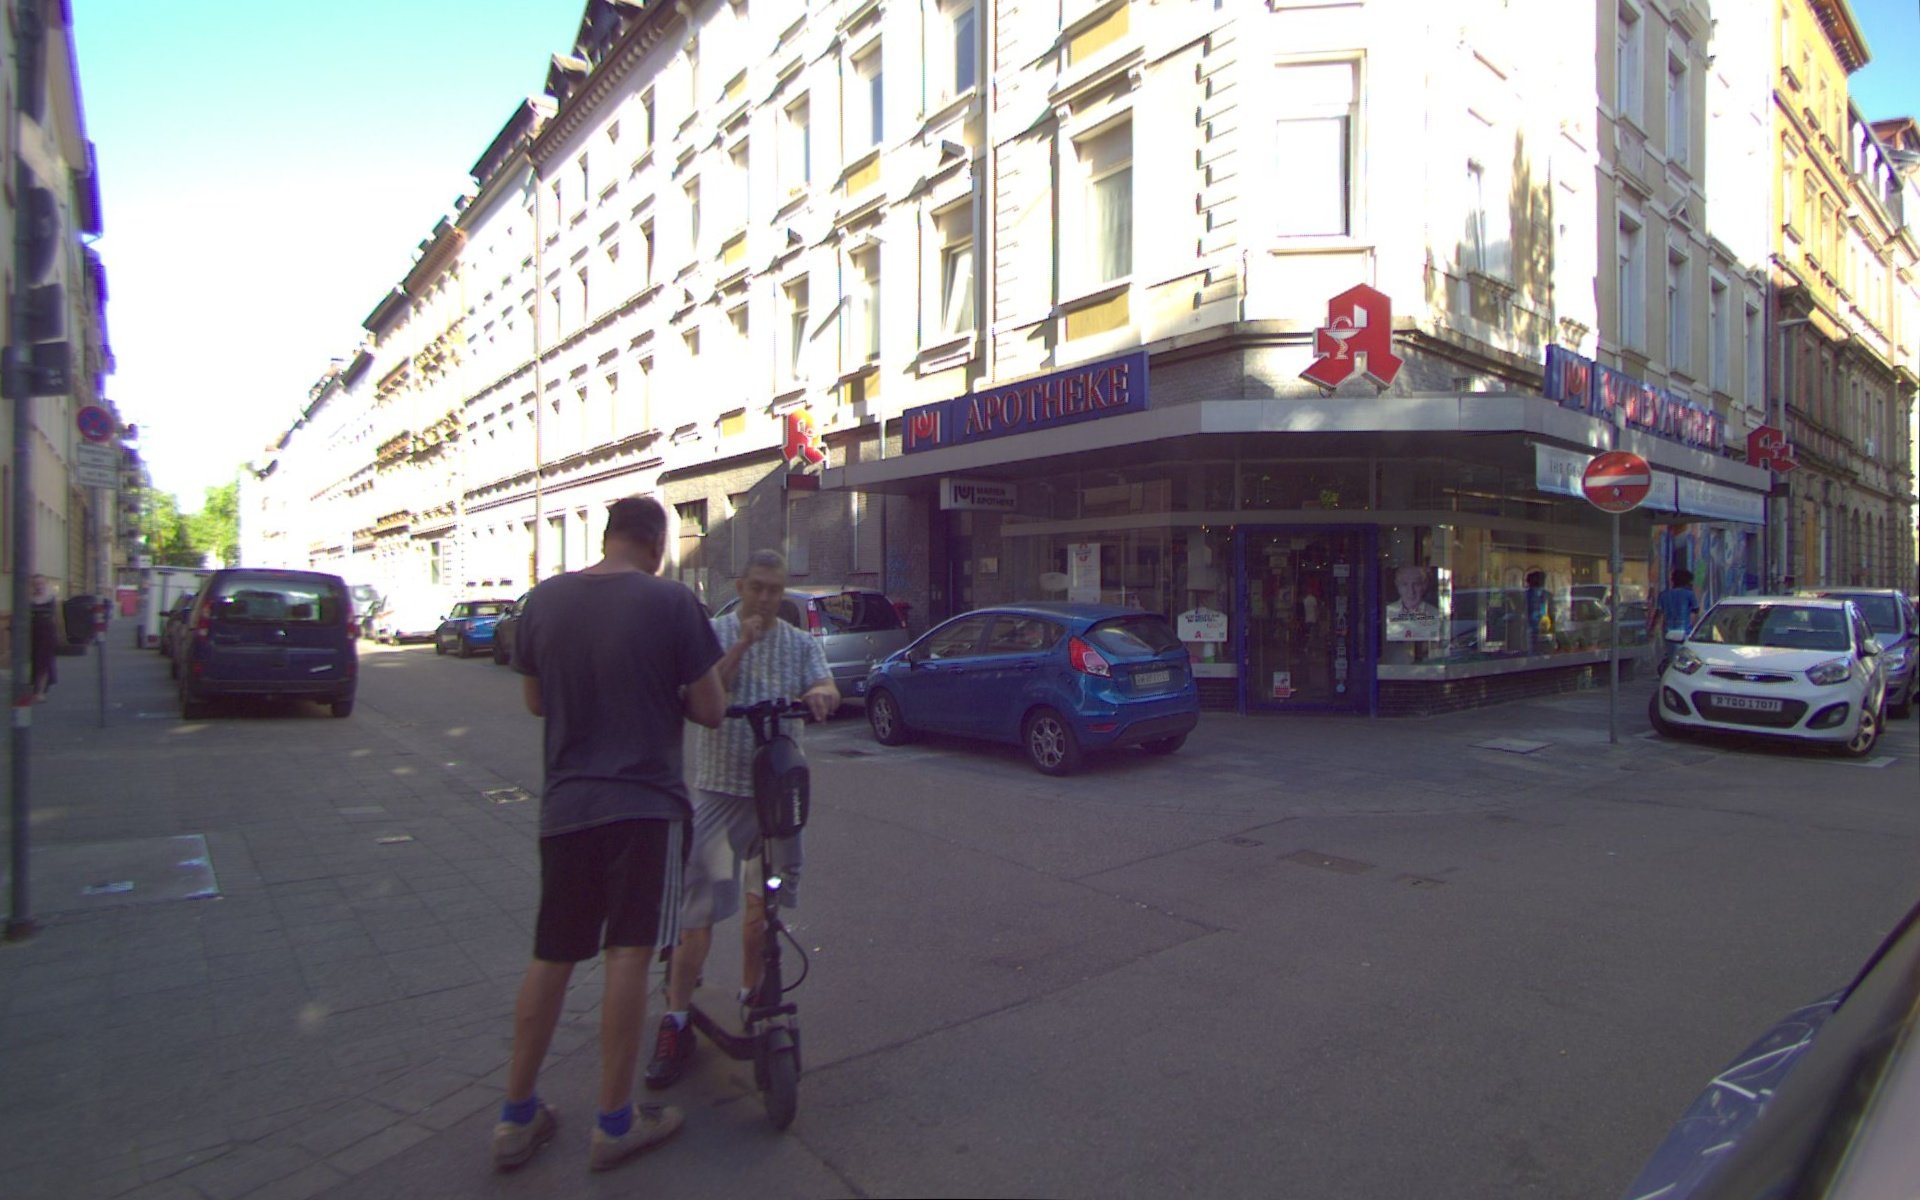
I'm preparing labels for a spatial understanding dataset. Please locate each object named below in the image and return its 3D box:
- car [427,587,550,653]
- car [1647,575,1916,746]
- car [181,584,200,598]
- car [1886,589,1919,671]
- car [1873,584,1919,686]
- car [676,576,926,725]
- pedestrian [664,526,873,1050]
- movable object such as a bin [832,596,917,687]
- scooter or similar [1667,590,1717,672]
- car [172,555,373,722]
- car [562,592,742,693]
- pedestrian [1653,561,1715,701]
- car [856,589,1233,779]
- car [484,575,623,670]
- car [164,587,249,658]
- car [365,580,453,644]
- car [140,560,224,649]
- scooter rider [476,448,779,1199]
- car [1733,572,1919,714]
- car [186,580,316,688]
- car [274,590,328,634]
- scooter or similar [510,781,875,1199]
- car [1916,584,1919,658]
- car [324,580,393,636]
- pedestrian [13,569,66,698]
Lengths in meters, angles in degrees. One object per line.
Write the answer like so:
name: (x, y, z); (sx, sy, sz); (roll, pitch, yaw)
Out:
car: (-12.089, 0.491, 25.832); (1.965, 1.545, 3.634); (-1, 0, -40)
car: (8.772, 0.516, 10.714); (3.579, 1.481, 1.691); (-2, 0, -43)
car: (-108.150, -1.249, 142.228); (1.964, 1.939, 3.995); (-1, 0, -39)
car: (19.879, 0.536, 20.035); (3.841, 1.505, 1.590); (-2, 0, -37)
car: (16.588, 0.514, 16.771); (4.126, 1.546, 1.557); (-2, 0, -39)
car: (-2.224, 0.556, 13.414); (1.601, 1.650, 3.743); (-2, 1, -39)
pedestrian: (-0.637, 0.601, 3.500); (0.555, 1.659, 0.527); (-2, -1, 5)
movable object such as a bin: (-1.323, 0.618, 15.563); (0.847, 1.300, 1.019); (-2, 0, -39)
scooter or similar: (12.065, 0.491, 16.666); (1.018, 1.296, 0.395); (-1, -1, -40)
car: (-9.206, 0.454, 13.416); (1.834, 1.864, 3.934); (3, -2, -39)
car: (-5.317, 0.620, 17.146); (1.532, 1.473, 3.986); (-1, 1, -39)
pedestrian: (10.234, 0.424, 14.307); (0.521, 1.918, 0.563); (-1, -1, -40)
car: (0.684, 0.664, 10.074); (1.757, 1.505, 3.581); (-1, 1, -39)
car: (-8.385, 0.402, 20.698); (1.532, 1.739, 3.986); (-1, 1, -39)
car: (-18.908, 0.517, 25.329); (1.558, 1.626, 3.581); (-1, 1, -39)
car: (-17.507, 0.380, 32.083); (1.701, 1.895, 3.938); (-1, 0, -40)
car: (-22.495, 0.098, 29.240); (1.804, 2.410, 3.422); (-1, 1, -39)
scooter rider: (-0.914, 0.545, 2.761); (0.556, 1.801, 0.610); (-1, -1, -42)
car: (12.441, 0.472, 13.997); (4.407, 1.671, 1.803); (-2, 0, -39)
car: (-12.308, 0.501, 17.469); (1.558, 1.631, 3.937); (-1, 1, -39)
car: (-32.065, 0.588, 49.202); (1.701, 2.058, 4.193); (-1, 0, -40)
scooter or similar: (-0.738, 1.022, 2.880); (0.909, 0.839, 0.394); (-1, 0, -39)
car: (23.870, 0.409, 23.390); (4.482, 1.667, 1.997); (-2, 0, -39)
car: (-23.763, 0.319, 39.921); (1.701, 2.058, 4.193); (-1, 0, -40)
pedestrian: (-12.450, 0.432, 13.704); (0.456, 1.677, 0.844); (0, 0, -38)
